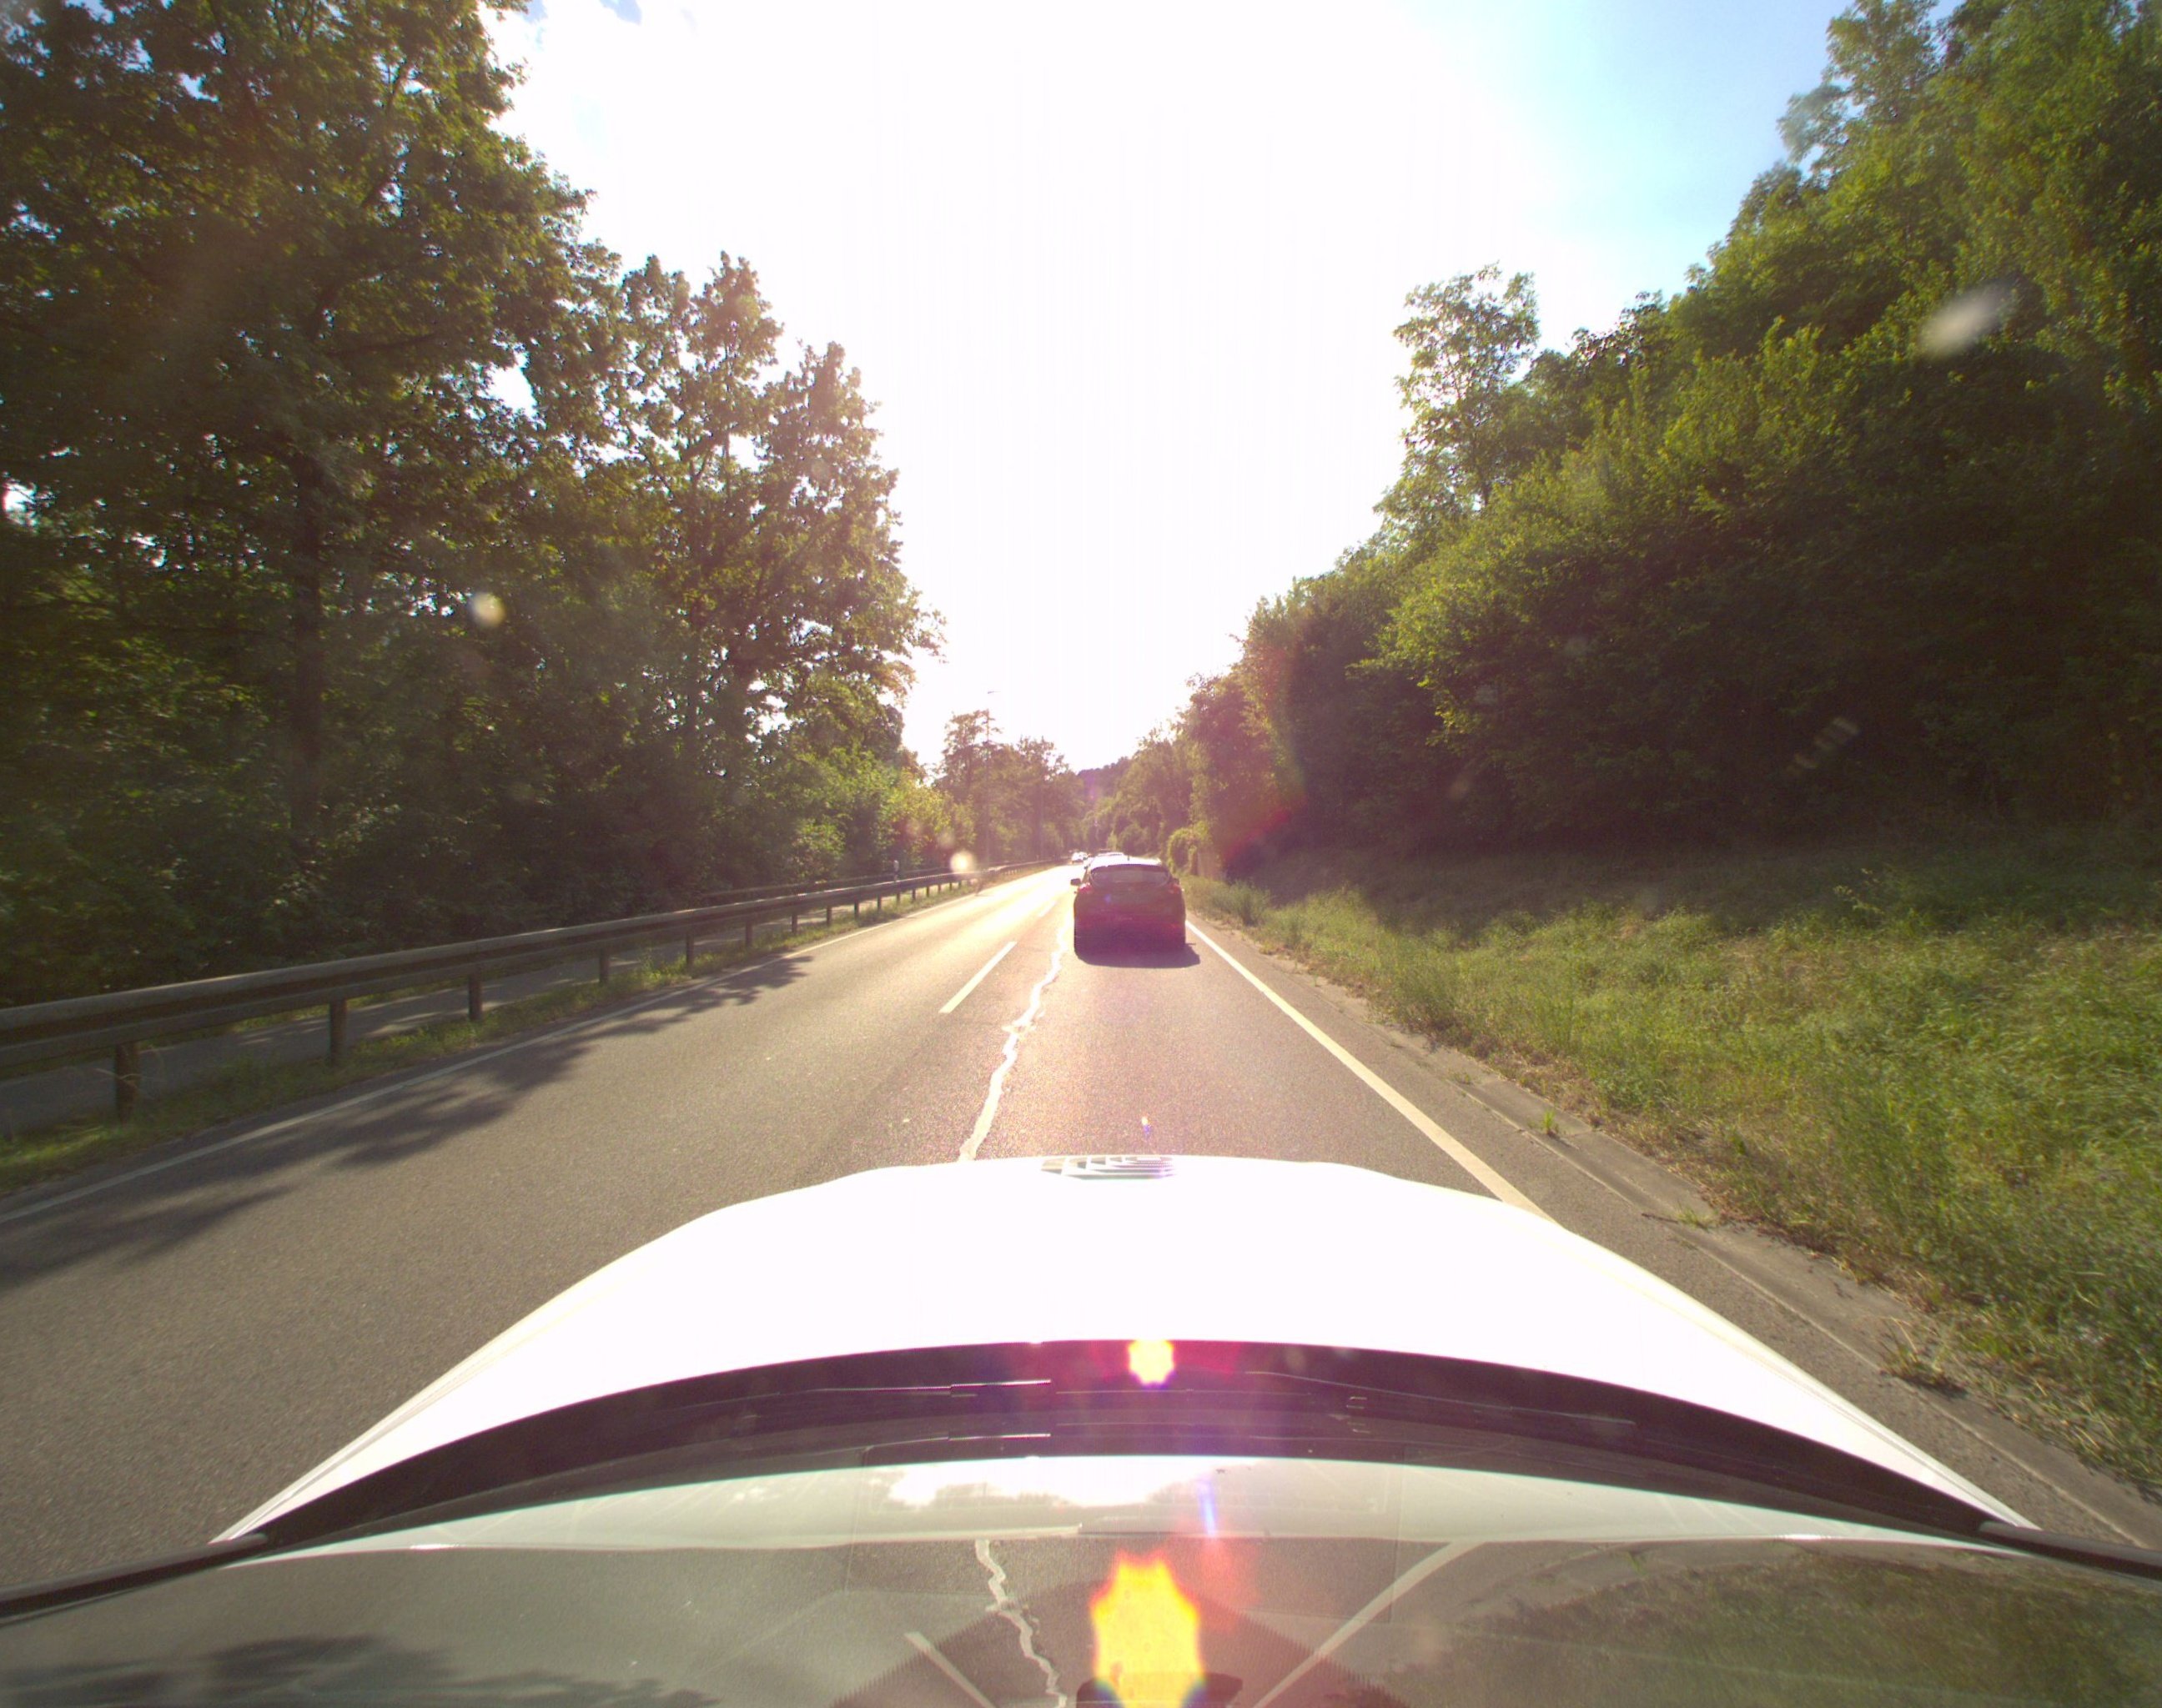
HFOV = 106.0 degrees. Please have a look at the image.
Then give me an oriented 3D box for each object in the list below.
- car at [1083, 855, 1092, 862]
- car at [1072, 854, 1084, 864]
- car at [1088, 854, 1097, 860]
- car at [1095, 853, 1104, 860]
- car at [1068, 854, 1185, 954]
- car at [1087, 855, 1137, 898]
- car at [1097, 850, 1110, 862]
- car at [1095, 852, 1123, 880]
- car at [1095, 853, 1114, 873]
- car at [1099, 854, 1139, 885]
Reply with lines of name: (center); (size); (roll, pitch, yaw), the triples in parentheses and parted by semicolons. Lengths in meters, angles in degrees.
car: (1.311, 0.866, 159.650); (1.675, 1.463, 4.199); (-1, 0, 1)
car: (-0.466, 0.749, 118.777); (1.617, 1.377, 4.048); (-2, 0, 1)
car: (3.246, 0.865, 224.993); (1.991, 1.519, 3.992); (-1, 0, -5)
car: (3.790, 0.476, 169.603); (1.812, 1.519, 4.002); (-1, 0, 2)
car: (0.747, 0.754, 14.129); (1.733, 1.456, 4.002); (-1, 0, 2)
car: (1.176, 0.768, 29.614); (1.654, 1.418, 4.004); (-1, 0, 3)
car: (3.364, 0.248, 122.253); (1.858, 1.780, 3.998); (-1, 0, -2)
car: (1.724, 0.692, 49.802); (1.624, 1.596, 4.002); (-1, 0, 2)
car: (2.041, 0.758, 69.975); (1.624, 1.596, 4.002); (-1, 0, 2)
car: (1.814, 0.723, 39.488); (1.798, 1.391, 4.002); (-1, 0, 2)
